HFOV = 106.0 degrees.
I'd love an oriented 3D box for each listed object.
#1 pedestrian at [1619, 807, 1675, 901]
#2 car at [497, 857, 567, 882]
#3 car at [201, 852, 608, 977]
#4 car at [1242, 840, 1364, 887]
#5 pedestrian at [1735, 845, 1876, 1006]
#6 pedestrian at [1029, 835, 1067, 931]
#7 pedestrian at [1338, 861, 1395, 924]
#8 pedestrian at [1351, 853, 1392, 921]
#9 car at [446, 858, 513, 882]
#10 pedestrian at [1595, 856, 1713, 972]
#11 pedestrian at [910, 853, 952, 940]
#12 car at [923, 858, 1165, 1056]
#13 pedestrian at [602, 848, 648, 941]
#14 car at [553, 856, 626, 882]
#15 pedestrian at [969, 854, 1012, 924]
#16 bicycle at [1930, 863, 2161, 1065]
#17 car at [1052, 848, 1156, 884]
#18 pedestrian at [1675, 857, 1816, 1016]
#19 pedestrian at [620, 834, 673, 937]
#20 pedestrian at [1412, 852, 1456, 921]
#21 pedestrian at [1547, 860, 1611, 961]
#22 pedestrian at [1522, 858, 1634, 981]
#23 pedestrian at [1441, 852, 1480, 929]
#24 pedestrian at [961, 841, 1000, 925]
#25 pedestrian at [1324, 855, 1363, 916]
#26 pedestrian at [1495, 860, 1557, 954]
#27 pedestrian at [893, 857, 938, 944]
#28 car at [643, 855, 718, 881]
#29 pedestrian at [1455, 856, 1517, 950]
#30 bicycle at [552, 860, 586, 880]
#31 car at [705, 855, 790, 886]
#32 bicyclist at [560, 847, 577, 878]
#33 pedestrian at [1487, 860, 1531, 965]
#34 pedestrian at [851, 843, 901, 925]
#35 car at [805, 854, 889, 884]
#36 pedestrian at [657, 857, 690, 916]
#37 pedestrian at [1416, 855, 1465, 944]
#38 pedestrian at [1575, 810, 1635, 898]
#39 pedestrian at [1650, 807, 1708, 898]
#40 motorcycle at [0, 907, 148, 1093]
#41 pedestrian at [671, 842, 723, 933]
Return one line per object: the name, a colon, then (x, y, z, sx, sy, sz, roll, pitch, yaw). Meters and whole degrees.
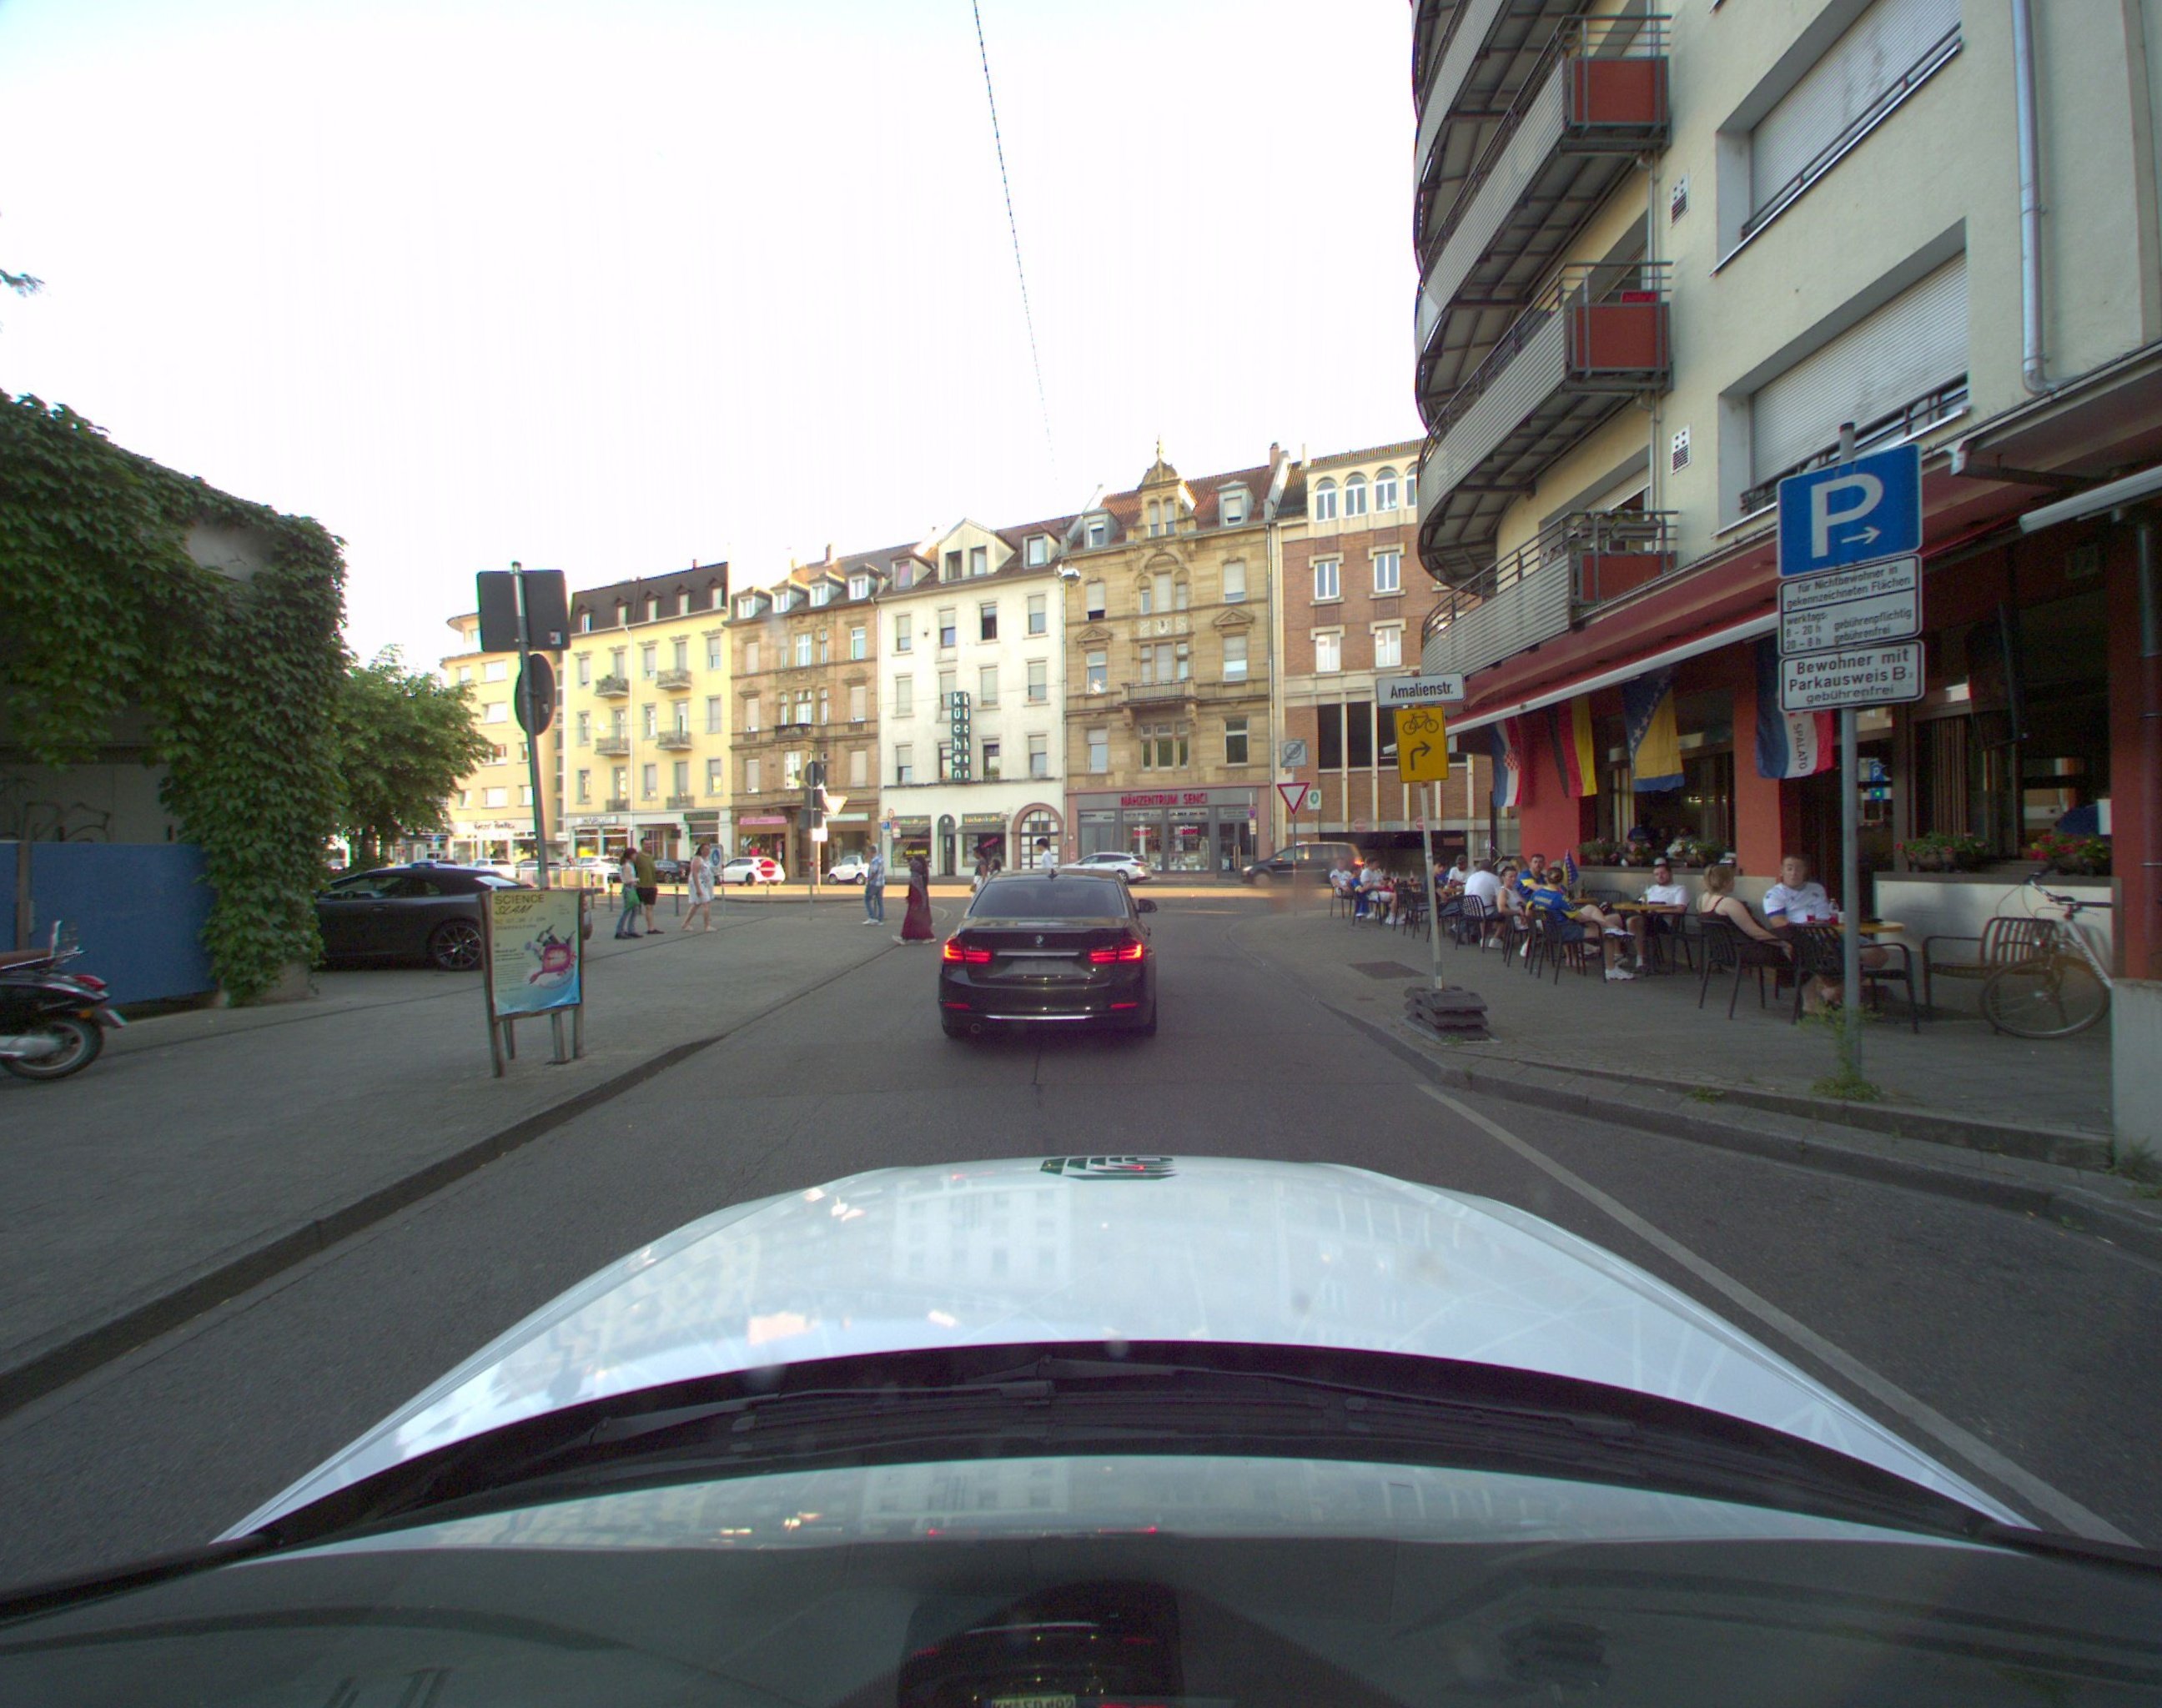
pedestrian: (9.842, 0.000, 14.179, 0.533, 1.607, 0.605, 1, 0, -22)
car: (-35.240, 0.997, 52.239, 3.952, 1.510, 1.810, -1, -1, 22)
car: (-9.281, 0.764, 11.547, 3.985, 1.501, 1.886, -1, 0, -9)
car: (8.083, 0.348, 29.651, 4.148, 1.625, 1.808, -1, -1, 18)
pedestrian: (6.465, 0.608, 7.304, 0.605, 1.348, 0.696, -2, 0, -1)
pedestrian: (-0.652, 0.565, 16.197, 0.696, 1.877, 0.679, 0, 0, 3)
pedestrian: (5.349, 0.712, 15.310, 0.885, 1.149, 0.620, -1, 0, 7)
pedestrian: (5.682, 0.633, 15.937, 0.613, 1.284, 0.661, -1, 0, 8)
car: (-40.481, 1.081, 54.839, 3.952, 1.510, 1.810, -1, -1, 22)
pedestrian: (6.529, 0.665, 9.319, 0.776, 1.223, 0.714, -4, 0, 0)
pedestrian: (-2.820, 0.783, 15.332, 0.724, 1.609, 0.648, 1, 0, -9)
car: (-0.249, 0.763, 8.313, 1.759, 1.375, 4.790, 0, 0, 0)
pedestrian: (-8.221, 0.713, 14.685, 0.498, 1.643, 0.521, -1, 0, 2)
car: (-30.137, 0.914, 49.925, 3.952, 1.510, 1.810, -1, -1, 22)
pedestrian: (-1.978, 0.757, 17.808, 0.812, 1.474, 0.607, -1, 0, 4)
bicycle: (6.475, 0.643, 5.013, 0.534, 1.154, 1.740, -2, -2, -4)
car: (1.064, 0.563, 37.291, 4.313, 1.562, 1.878, -1, -1, 22)
pedestrian: (5.643, 0.680, 6.952, 0.683, 1.286, 0.610, -2, -1, 9)
pedestrian: (-8.175, 0.581, 15.333, 0.580, 1.882, 0.634, -1, 0, 5)
pedestrian: (6.790, 0.611, 15.673, 0.611, 1.279, 0.705, -1, 0, 37)
pedestrian: (6.235, 0.696, 10.204, 0.421, 1.201, 0.531, -3, 0, -43)
pedestrian: (5.430, 0.700, 8.921, 0.856, 1.257, 0.491, -4, 0, -1)
pedestrian: (6.439, 0.614, 13.848, 0.486, 1.276, 0.523, -1, 0, 13)
pedestrian: (-2.125, 0.606, 17.209, 0.664, 1.746, 0.607, -1, 0, 6)
pedestrian: (5.519, 0.650, 17.149, 0.614, 1.254, 0.736, -1, 0, 5)
pedestrian: (5.950, 0.698, 10.898, 0.421, 1.201, 0.562, -3, 0, -42)
pedestrian: (-2.959, 0.823, 14.599, 0.735, 1.513, 0.648, 1, 0, -9)
car: (-23.845, 0.833, 48.536, 3.952, 1.510, 1.810, -1, -1, 22)
pedestrian: (5.795, 0.686, 11.641, 0.631, 1.276, 0.505, -3, 0, -38)
bicycle: (-29.016, 0.912, 46.141, 1.781, 1.107, 0.540, 0, 0, 14)
car: (-16.752, 0.817, 40.888, 3.949, 1.473, 1.895, -1, 0, 29)
bicyclist: (-29.025, 0.473, 46.147, 0.613, 1.756, 0.527, 0, 0, 14)
pedestrian: (5.313, 0.719, 10.118, 0.340, 1.257, 0.362, -4, 0, 15)
pedestrian: (-4.431, 0.640, 17.619, 0.891, 1.725, 0.609, 1, 2, 6)
car: (-12.370, 0.782, 43.009, 3.952, 1.510, 1.810, -1, -1, 22)
pedestrian: (-9.899, 0.782, 19.785, 0.530, 1.409, 0.473, 0, 0, 30)
pedestrian: (5.450, 0.675, 12.365, 0.489, 1.303, 0.418, -4, 0, 0)
pedestrian: (9.857, -0.008, 15.335, 0.717, 1.607, 0.682, 1, 0, -27)
pedestrian: (10.870, -0.024, 14.803, 0.692, 1.607, 0.707, 1, 0, -42)
motorcycle: (-7.172, 0.917, 5.025, 1.758, 1.101, 0.561, 1, 0, -35)
pedestrian: (-7.547, 0.639, 16.017, 0.665, 1.746, 0.661, -1, 0, 38)
